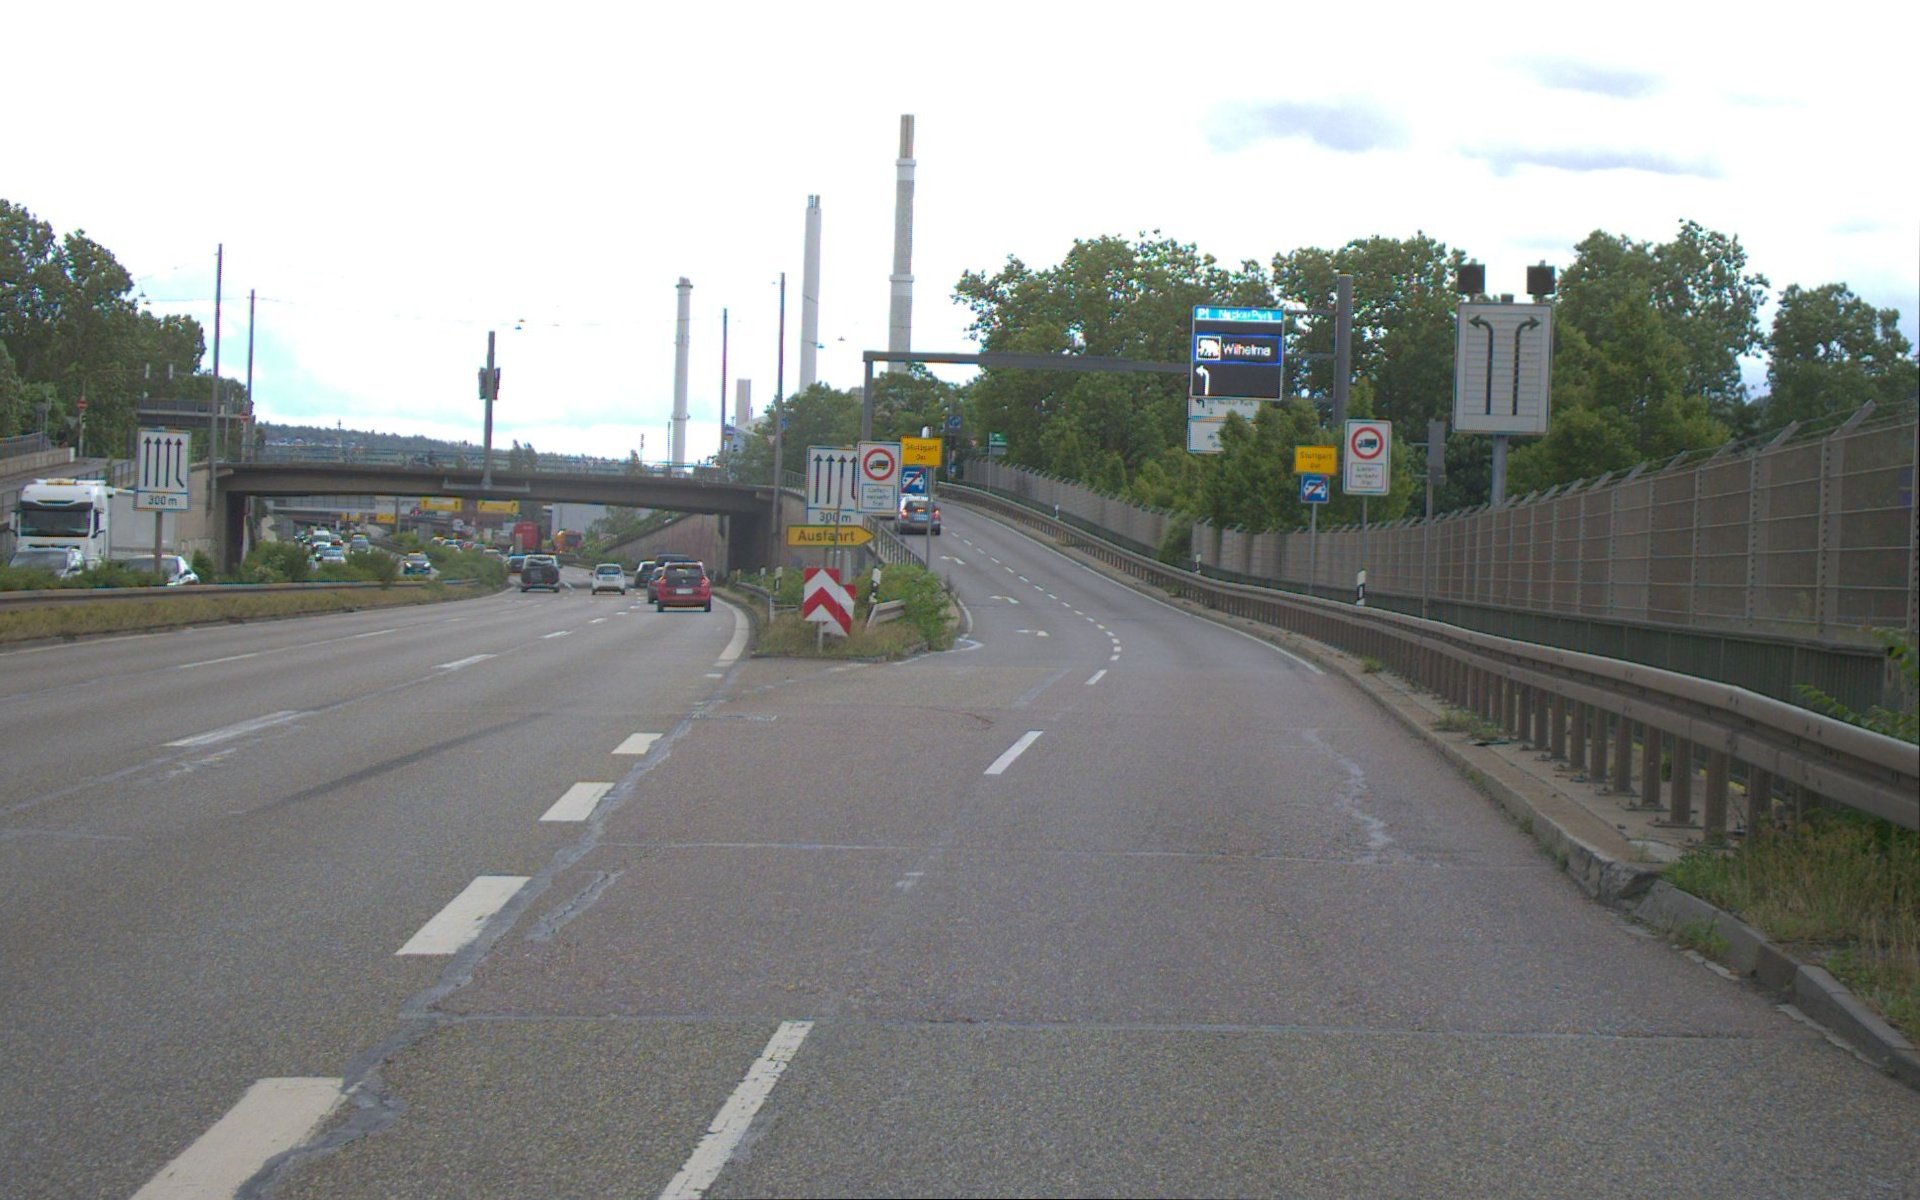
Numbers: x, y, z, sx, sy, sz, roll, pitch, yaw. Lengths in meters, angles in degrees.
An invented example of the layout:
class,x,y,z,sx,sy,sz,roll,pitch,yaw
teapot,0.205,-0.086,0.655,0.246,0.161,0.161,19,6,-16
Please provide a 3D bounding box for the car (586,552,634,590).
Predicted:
class,x,y,z,sx,sy,sz,roll,pitch,yaw
car,-16.999,-1.413,167.014,1.993,1.678,4.001,3,2,-2

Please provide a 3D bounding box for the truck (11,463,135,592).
class,x,y,z,sx,sy,sz,roll,pitch,yaw
truck,-28.428,-2.303,110.369,2.789,3.924,5.313,3,0,-4

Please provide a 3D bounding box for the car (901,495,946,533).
class,x,y,z,sx,sy,sz,roll,pitch,yaw
car,-1.532,-3.654,146.176,1.750,1.575,4.085,0,1,1

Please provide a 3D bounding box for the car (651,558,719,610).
class,x,y,z,sx,sy,sz,roll,pitch,yaw
car,-8.474,-0.518,105.882,1.993,1.415,4.001,2,2,-5

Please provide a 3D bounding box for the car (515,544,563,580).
class,x,y,z,sx,sy,sz,roll,pitch,yaw
car,-21.131,-1.919,172.665,1.993,1.678,4.001,3,2,-2
